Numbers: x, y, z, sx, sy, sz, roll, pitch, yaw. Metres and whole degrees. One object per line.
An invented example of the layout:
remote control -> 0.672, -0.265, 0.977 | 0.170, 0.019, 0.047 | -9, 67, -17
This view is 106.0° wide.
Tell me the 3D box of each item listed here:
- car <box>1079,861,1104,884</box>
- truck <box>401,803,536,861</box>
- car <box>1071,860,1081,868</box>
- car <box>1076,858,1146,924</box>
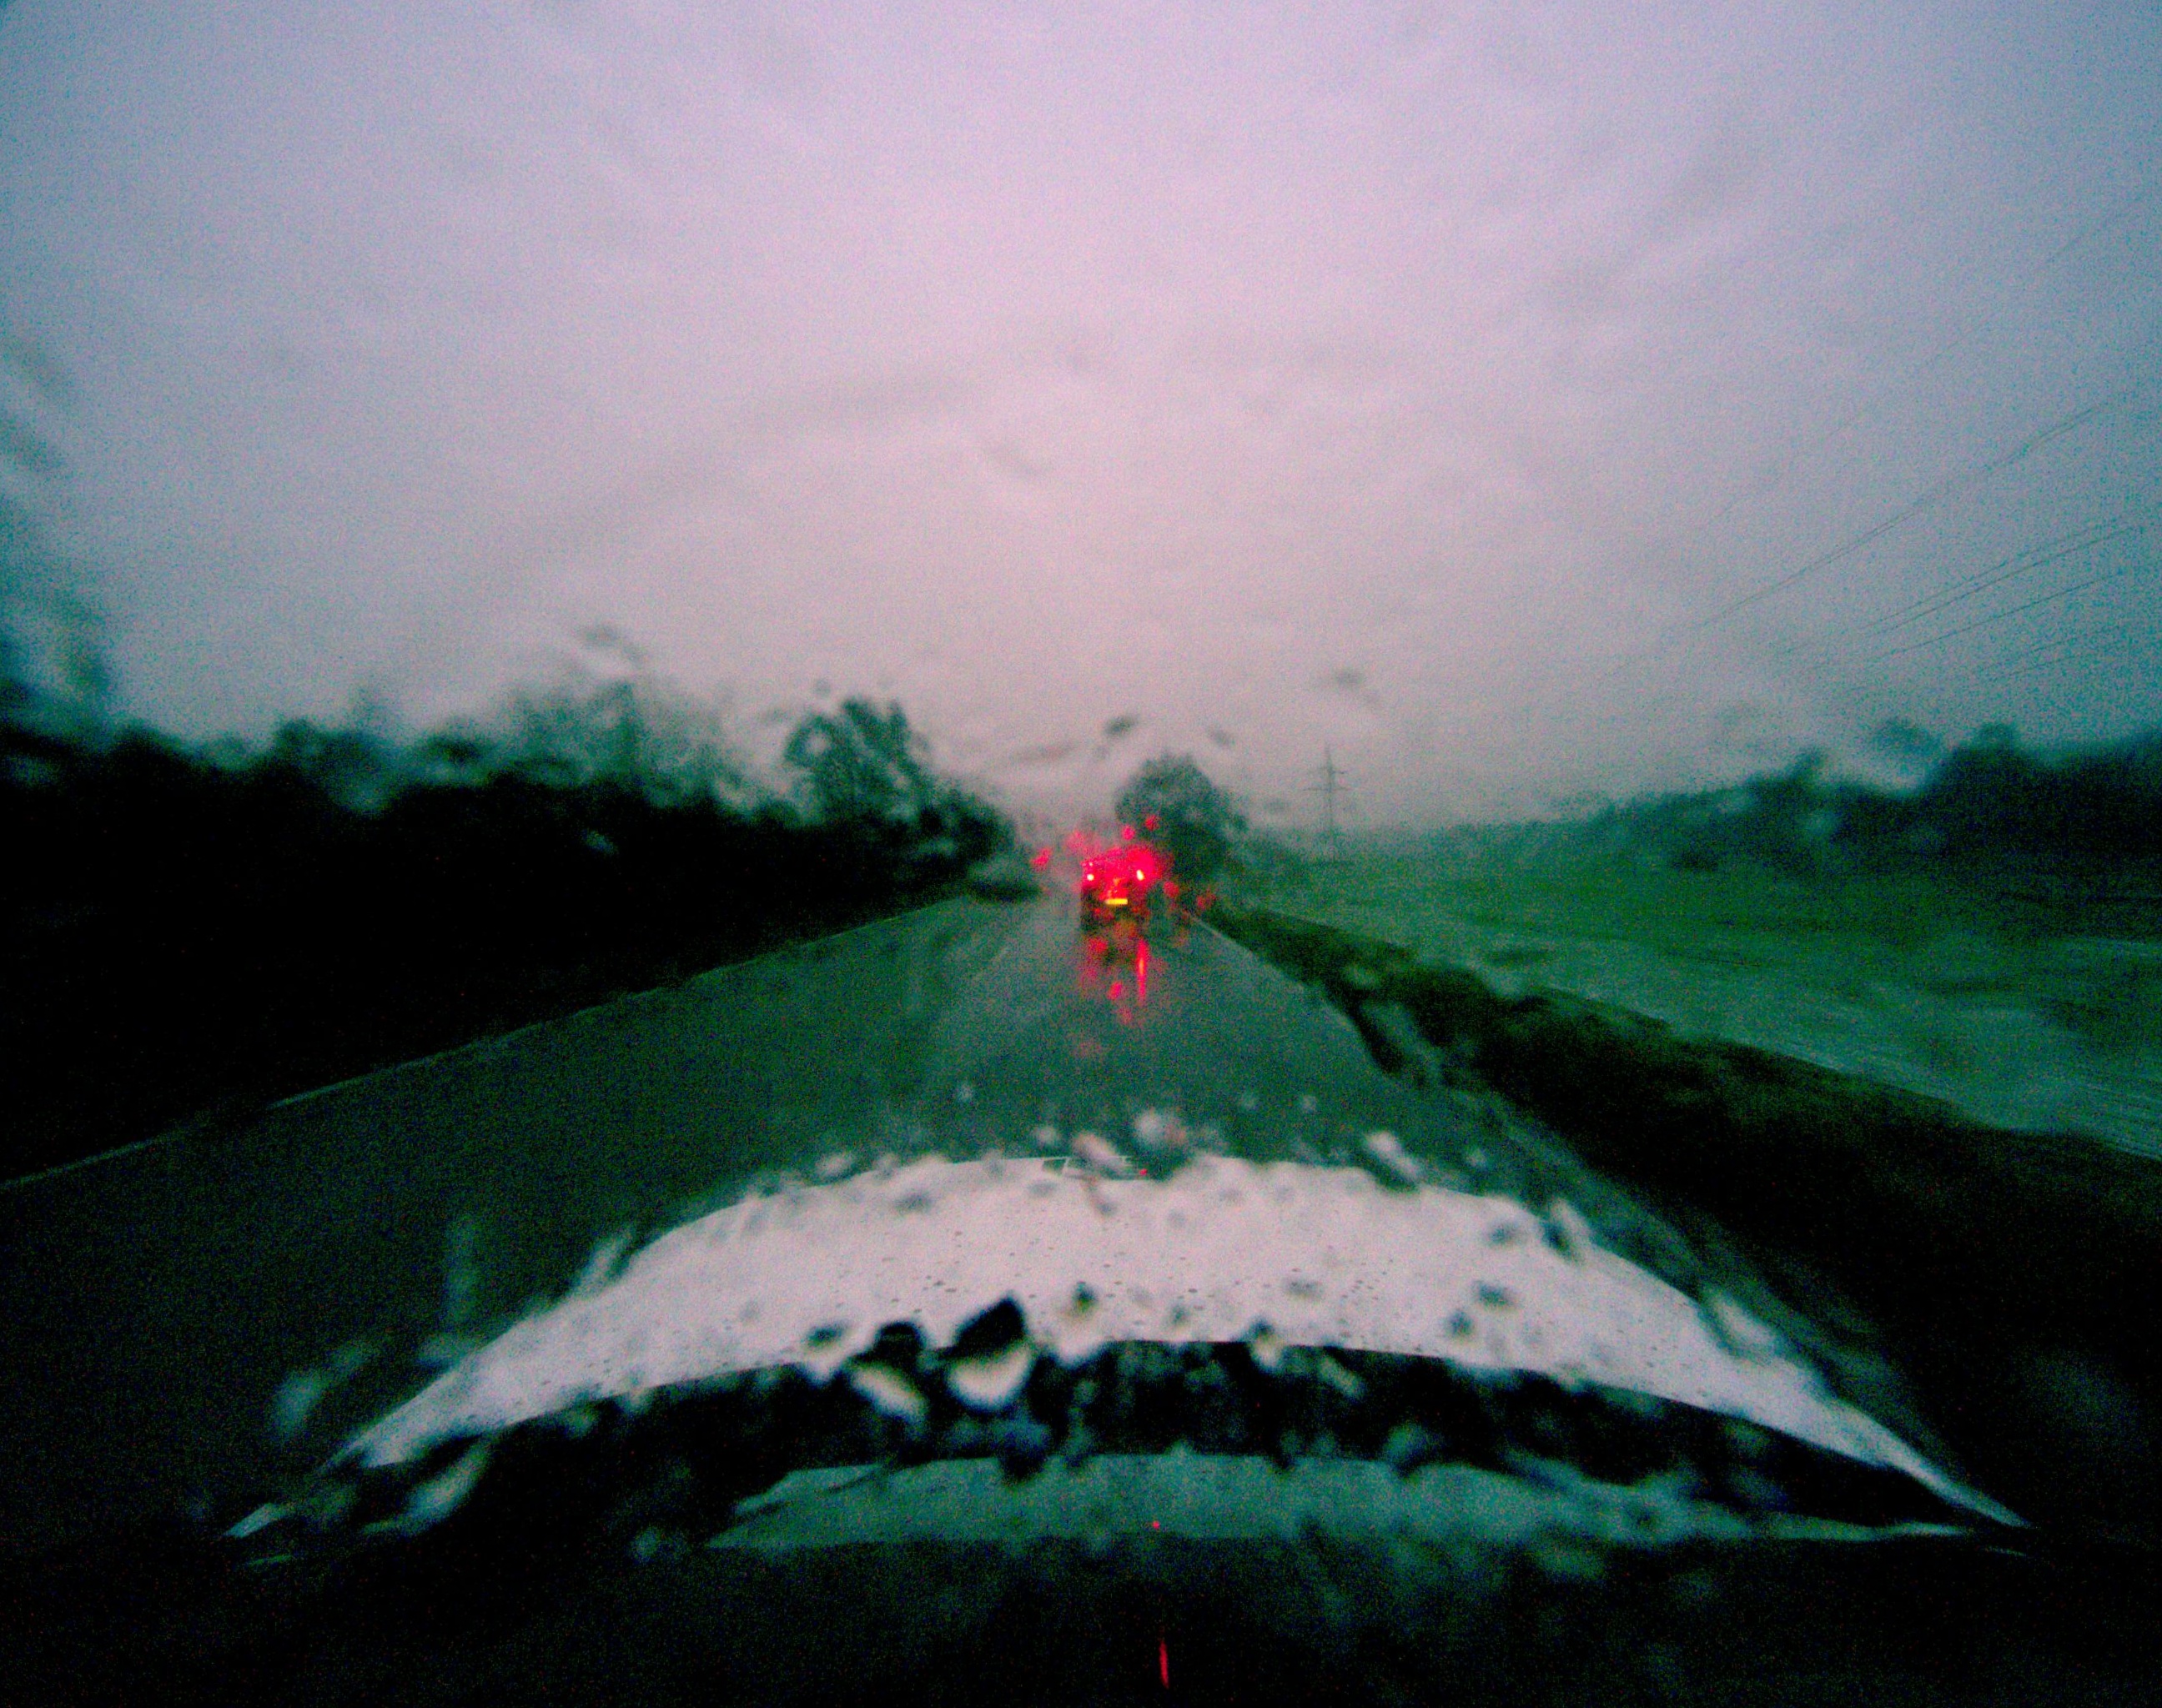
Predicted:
car -> 0.676, 1.167, 51.685 | 1.542, 1.397, 3.869 | 0, 0, 0
truck -> -28.741, -0.944, 38.532 | 1.986, 2.493, 5.660 | 0, -1, 2
car -> -0.905, 1.717, 143.563 | 1.541, 1.397, 3.870 | 0, 0, 1
car -> 0.800, 0.877, 20.744 | 1.596, 1.522, 3.872 | -1, 0, 3
